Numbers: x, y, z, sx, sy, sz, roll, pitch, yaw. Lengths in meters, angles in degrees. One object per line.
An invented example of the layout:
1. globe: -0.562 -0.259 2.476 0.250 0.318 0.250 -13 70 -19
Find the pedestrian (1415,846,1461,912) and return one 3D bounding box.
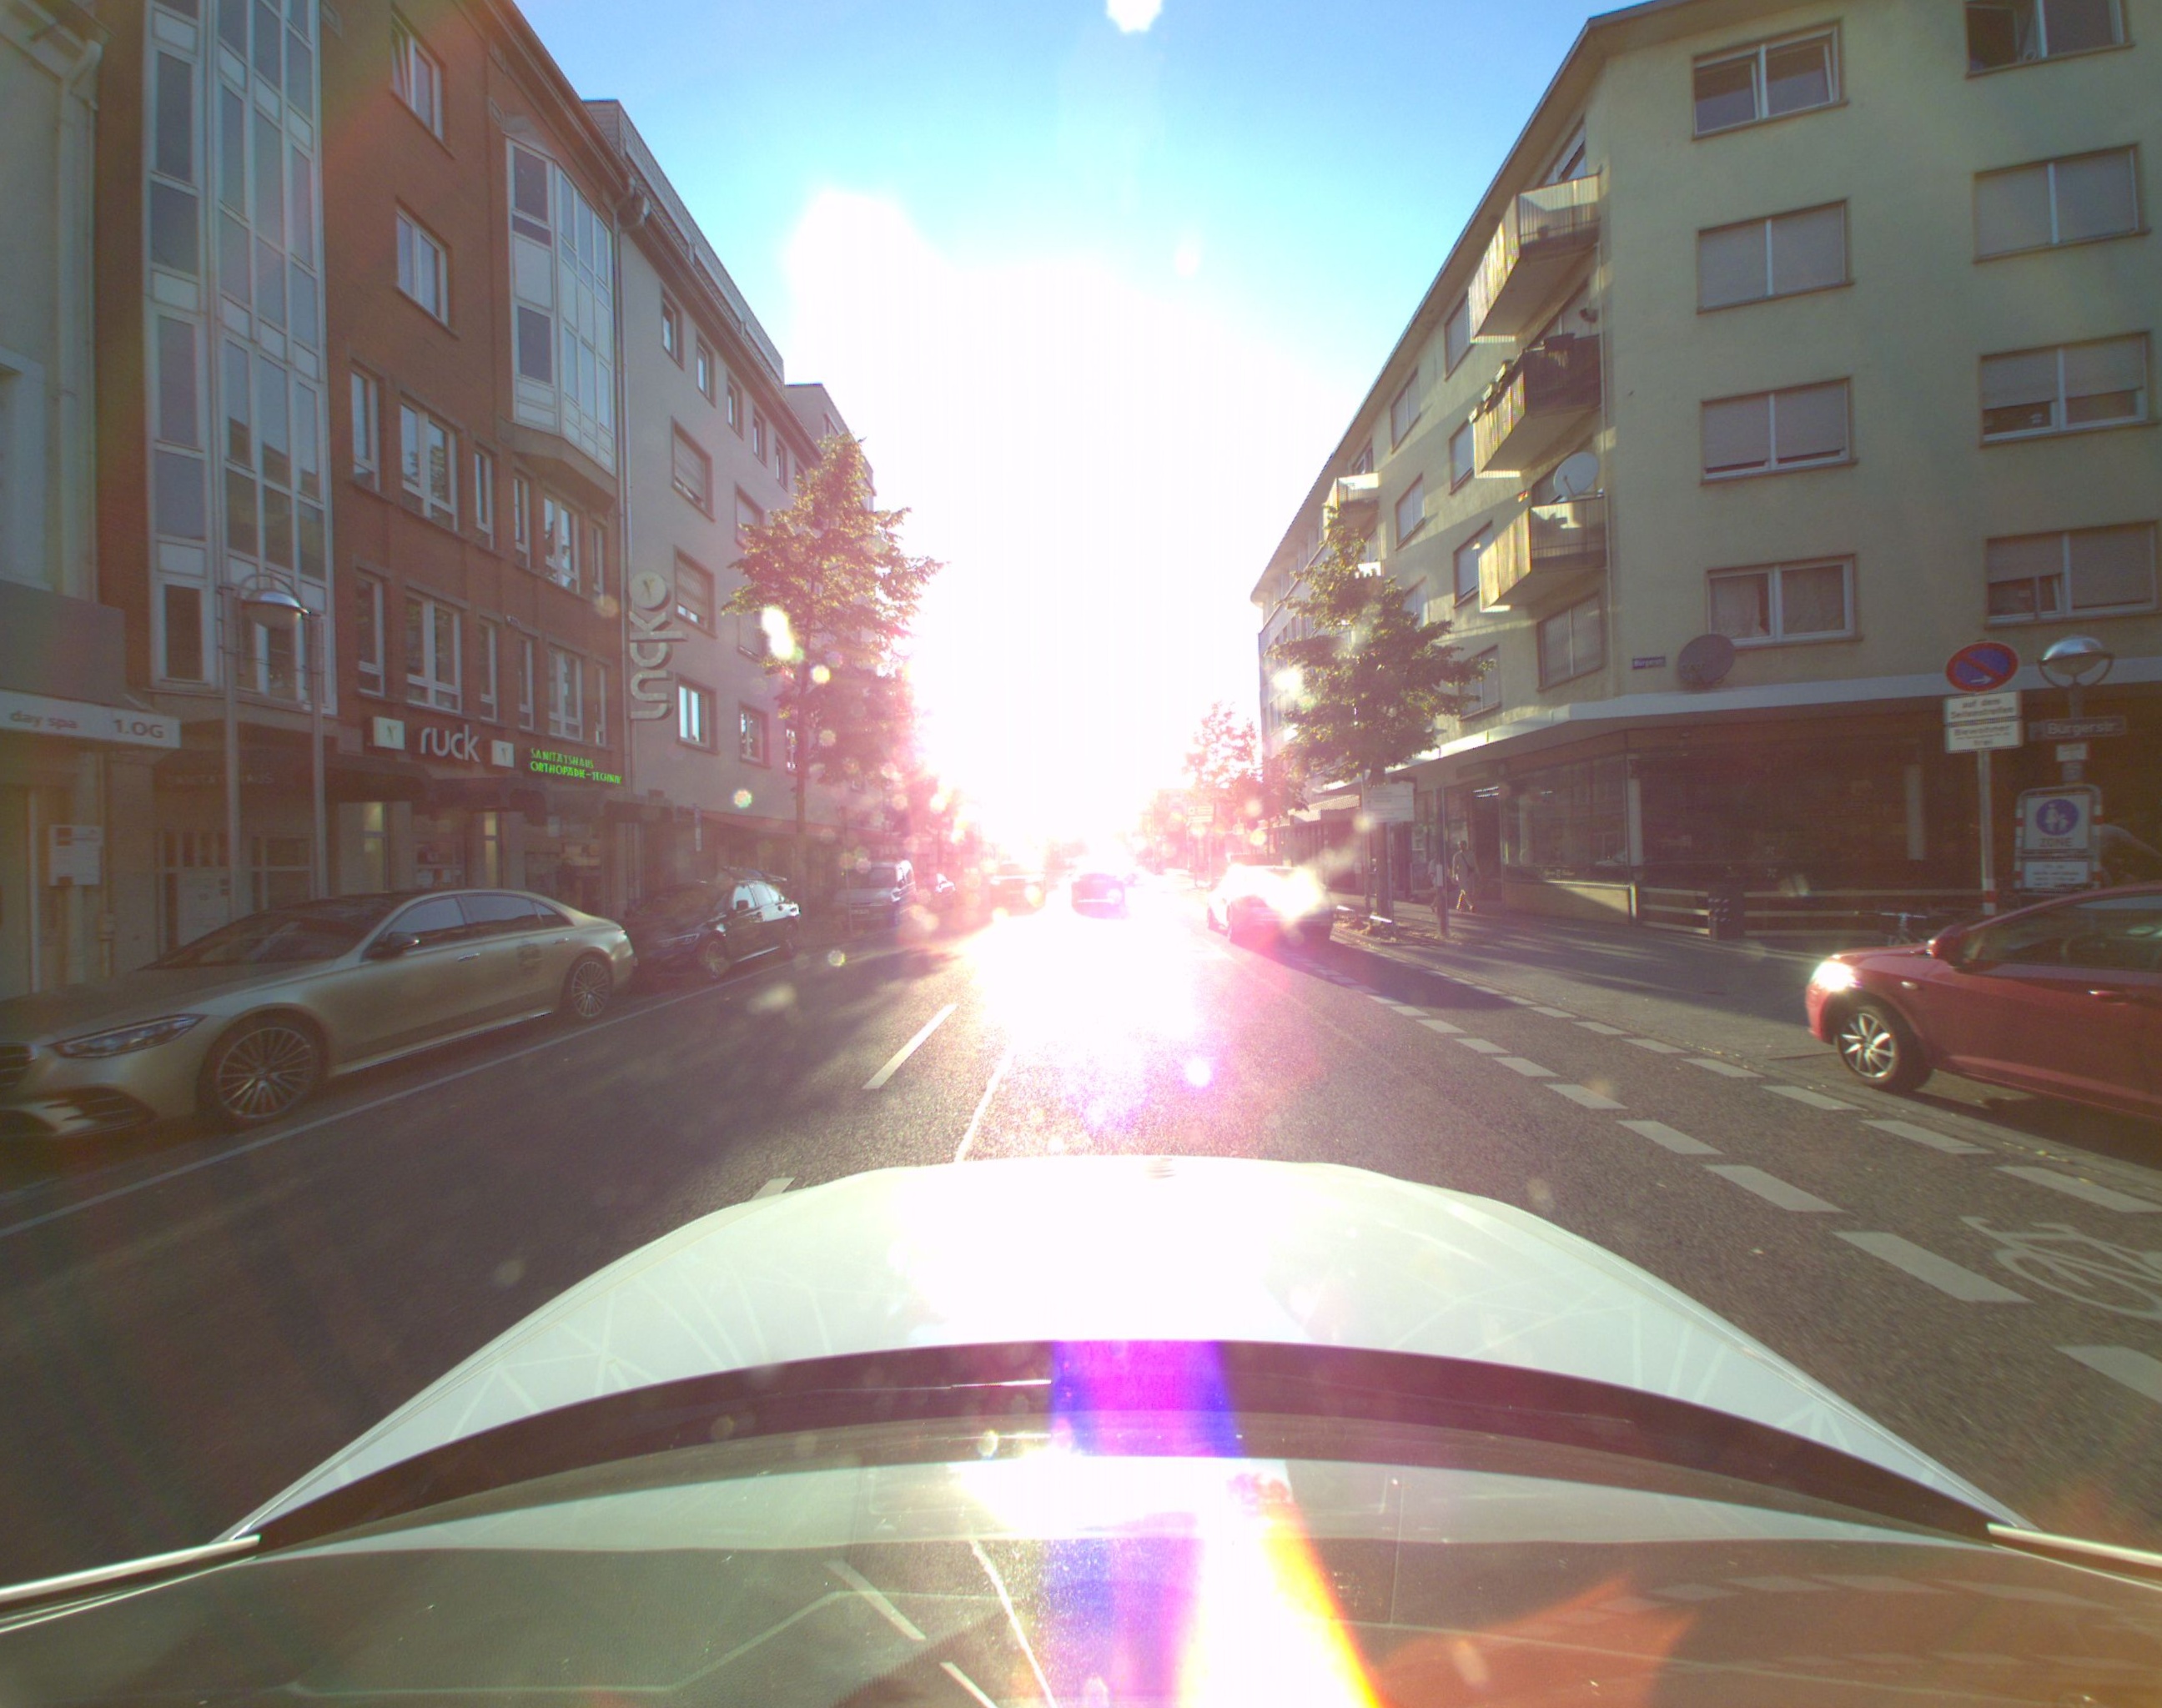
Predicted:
1. pedestrian: 8.730 0.611 19.947 0.686 1.559 0.862 -2 -1 -1

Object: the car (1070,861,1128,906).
1. car: 0.655 0.986 28.660 1.876 1.415 4.327 -1 0 2

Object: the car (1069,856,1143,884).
1. car: 1.618 1.020 52.027 4.331 1.602 1.913 -2 1 -24

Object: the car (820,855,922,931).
1. car: -5.656 0.990 22.460 1.828 1.854 4.121 -1 -1 -2

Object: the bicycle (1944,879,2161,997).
1. bicycle: 10.010 0.811 8.445 0.286 1.039 1.717 -1 0 1

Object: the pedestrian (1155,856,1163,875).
1. pedestrian: 7.009 1.050 73.334 0.576 1.644 0.524 -1 1 -20

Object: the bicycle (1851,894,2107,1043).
1. bicycle: 7.600 0.907 7.016 0.303 1.039 1.717 -1 0 1

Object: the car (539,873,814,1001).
1. car: -5.940 1.118 12.719 1.820 1.439 4.555 -4 -1 2

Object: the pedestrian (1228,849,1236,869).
1. pedestrian: 13.342 0.449 72.054 0.496 1.715 0.459 -1 1 -19

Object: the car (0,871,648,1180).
1. car: -6.166 1.034 7.061 1.820 1.556 5.139 -3 0 2

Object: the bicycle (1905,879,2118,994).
1. bicycle: 9.718 0.815 8.605 0.286 1.039 1.717 -1 0 1

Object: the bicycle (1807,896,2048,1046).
1. bicycle: 7.172 0.930 7.022 0.291 1.039 1.717 -1 0 1

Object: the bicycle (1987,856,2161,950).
1. bicycle: 13.277 0.629 10.588 1.910 1.155 0.655 -2 -1 17

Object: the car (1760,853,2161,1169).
1. car: 5.988 0.747 4.221 1.697 1.436 3.933 -3 0 2

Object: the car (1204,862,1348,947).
1. car: 3.673 0.884 16.195 1.915 1.415 4.550 1 0 2

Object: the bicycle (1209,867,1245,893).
1. bicycle: 6.536 1.172 36.462 1.532 1.145 0.382 0 1 2

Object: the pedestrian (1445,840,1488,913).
1. pedestrian: 9.378 0.540 19.844 0.684 1.721 0.718 -3 -1 7

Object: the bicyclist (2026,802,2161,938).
1. bicyclist: 13.281 0.210 10.588 1.083 1.702 0.655 -2 -1 17

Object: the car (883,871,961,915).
1. car: -5.431 1.297 28.295 1.827 1.328 4.123 -1 -1 0

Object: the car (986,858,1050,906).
1. car: -2.318 1.010 30.996 1.915 1.602 4.327 -1 1 2
